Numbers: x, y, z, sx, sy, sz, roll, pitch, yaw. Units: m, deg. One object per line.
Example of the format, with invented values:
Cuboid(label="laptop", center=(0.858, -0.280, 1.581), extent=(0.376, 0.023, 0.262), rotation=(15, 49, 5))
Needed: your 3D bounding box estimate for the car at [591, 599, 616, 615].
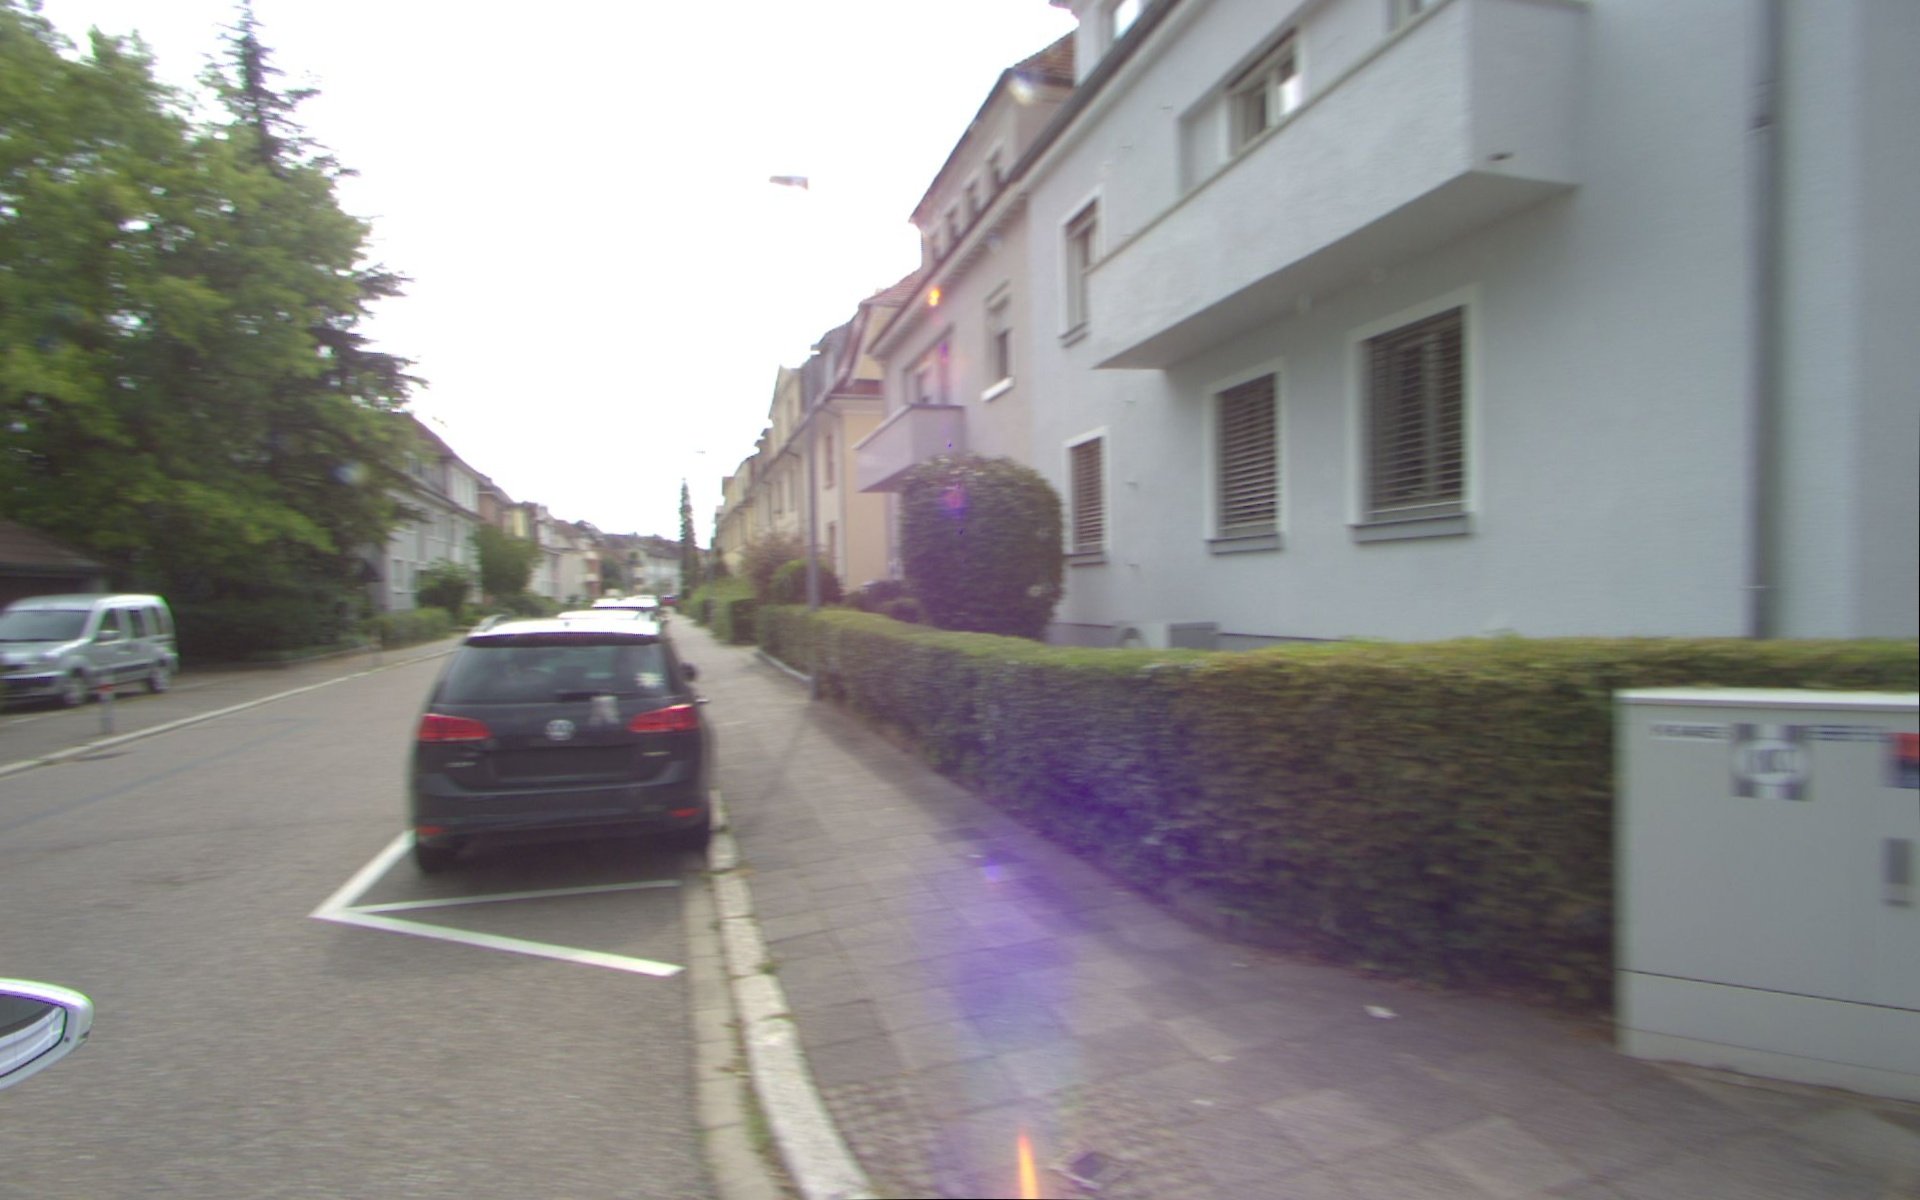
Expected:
Cuboid(label="car", center=(-37.955, 0.730, 106.632), extent=(1.963, 1.662, 3.994), rotation=(-1, 1, -13))

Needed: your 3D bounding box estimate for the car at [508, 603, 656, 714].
Cuboid(label="car", center=(-6.008, 0.833, 16.366), extent=(1.826, 1.491, 4.167), rotation=(-1, 1, -15))

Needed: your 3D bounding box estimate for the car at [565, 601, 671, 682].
Cuboid(label="car", center=(-7.158, 0.792, 21.307), extent=(1.826, 1.491, 4.167), rotation=(-1, 1, -15))

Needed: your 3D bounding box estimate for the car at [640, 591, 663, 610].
Cuboid(label="car", center=(-27.308, 0.061, 88.751), extent=(1.827, 1.599, 4.166), rotation=(-1, 1, -17))

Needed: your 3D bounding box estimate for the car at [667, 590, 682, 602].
Cuboid(label="car", center=(-39.665, -0.527, 139.115), extent=(1.826, 1.599, 4.167), rotation=(-1, 1, -15))

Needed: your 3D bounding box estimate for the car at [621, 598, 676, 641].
Cuboid(label="car", center=(-11.731, 0.683, 37.934), extent=(1.826, 1.491, 4.167), rotation=(-1, 1, -15))

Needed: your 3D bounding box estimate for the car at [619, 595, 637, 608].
Cuboid(label="car", center=(-44.689, 0.207, 134.884), extent=(1.963, 1.662, 3.994), rotation=(-1, 1, -13))

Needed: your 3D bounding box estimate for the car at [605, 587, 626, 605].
Cuboid(label="car", center=(-40.809, -0.449, 118.685), extent=(1.964, 2.041, 3.993), rotation=(-1, 1, -15))

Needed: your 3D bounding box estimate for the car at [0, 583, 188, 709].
Cuboid(label="car", center=(-15.028, 0.682, 16.686), extent=(1.964, 1.862, 3.993), rotation=(-1, 1, -15))

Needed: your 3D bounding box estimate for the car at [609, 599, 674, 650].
Cuboid(label="car", center=(-10.328, 0.759, 32.726), extent=(1.826, 1.491, 4.167), rotation=(-1, 1, -15))

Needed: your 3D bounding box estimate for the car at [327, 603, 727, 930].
Cuboid(label="car", center=(-2.840, 0.803, 7.052), extent=(1.828, 1.491, 4.164), rotation=(-1, 1, -20))
